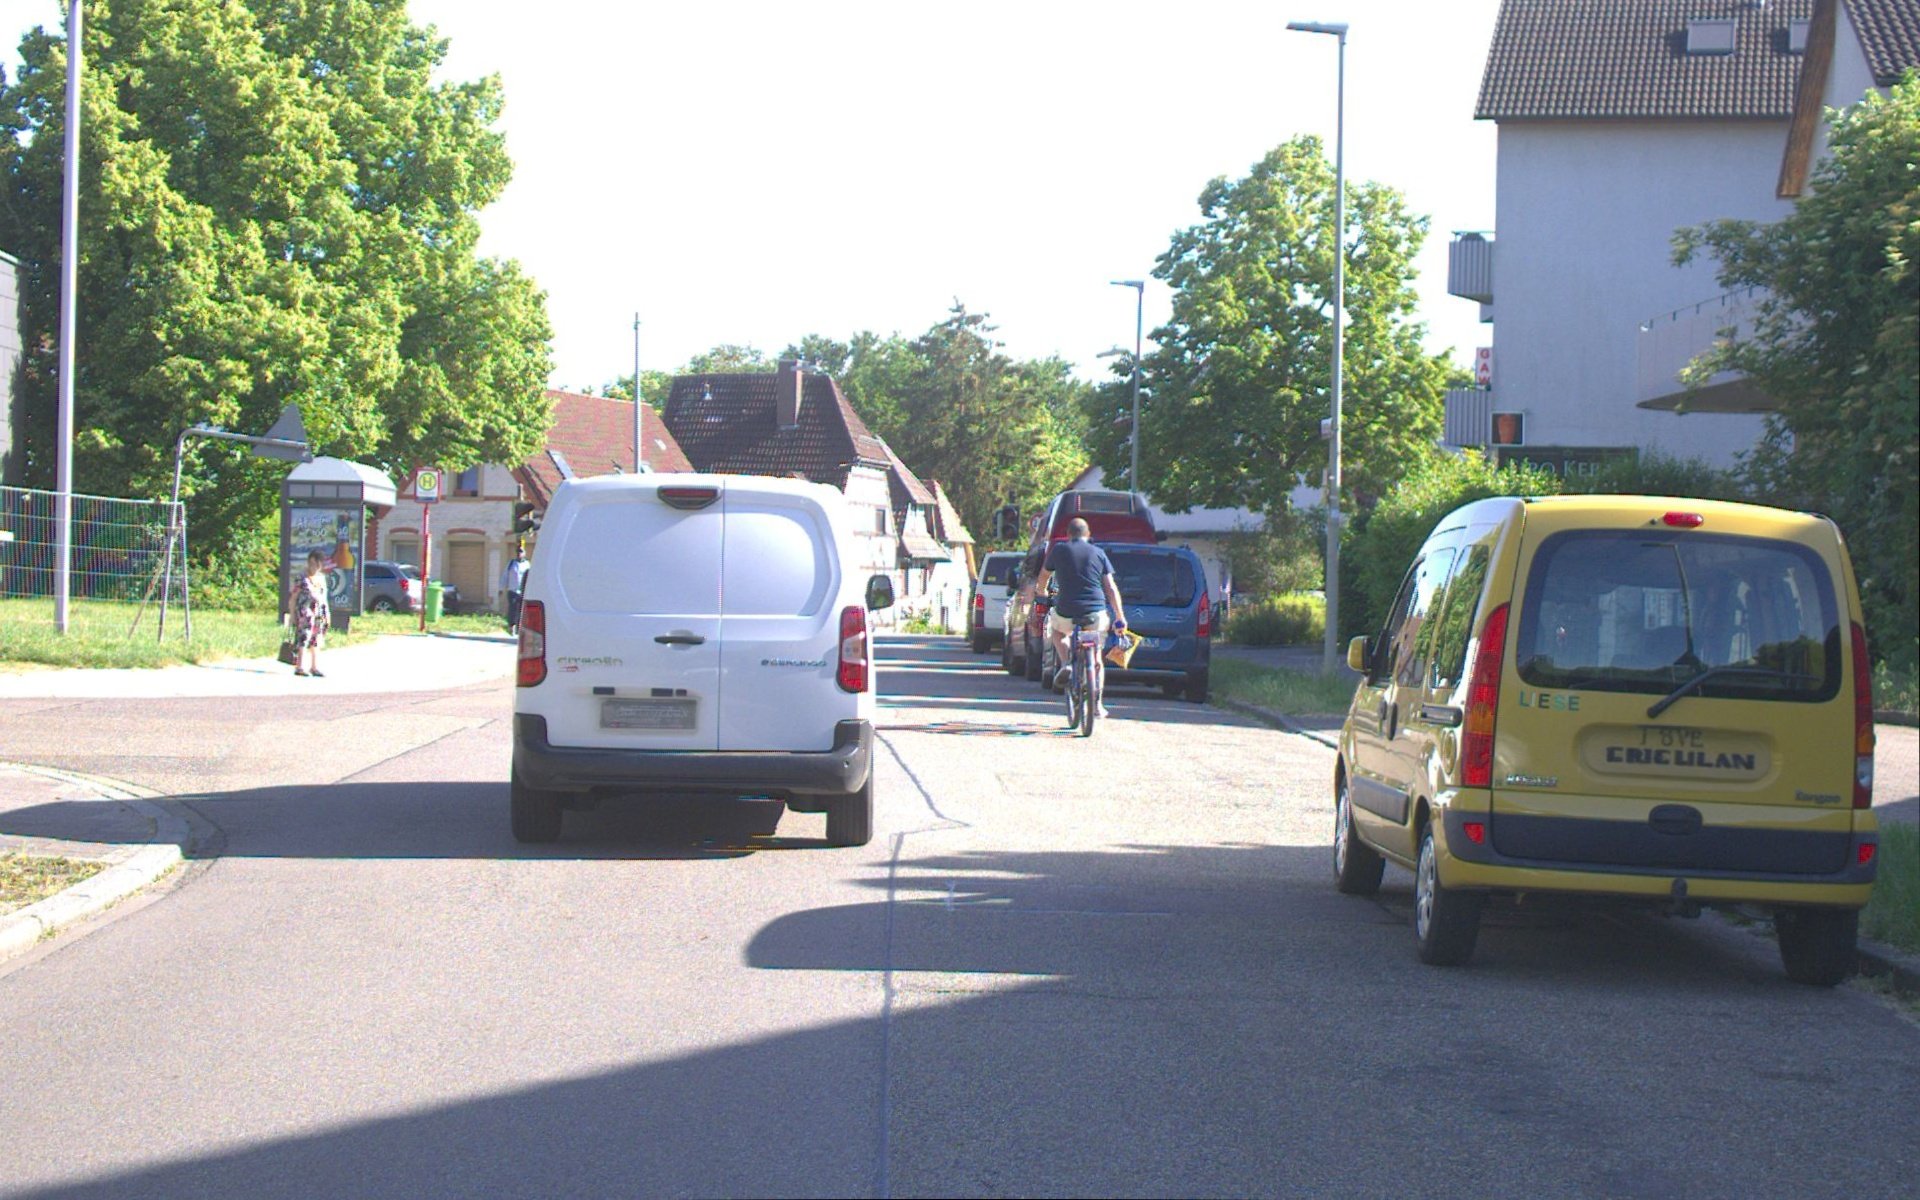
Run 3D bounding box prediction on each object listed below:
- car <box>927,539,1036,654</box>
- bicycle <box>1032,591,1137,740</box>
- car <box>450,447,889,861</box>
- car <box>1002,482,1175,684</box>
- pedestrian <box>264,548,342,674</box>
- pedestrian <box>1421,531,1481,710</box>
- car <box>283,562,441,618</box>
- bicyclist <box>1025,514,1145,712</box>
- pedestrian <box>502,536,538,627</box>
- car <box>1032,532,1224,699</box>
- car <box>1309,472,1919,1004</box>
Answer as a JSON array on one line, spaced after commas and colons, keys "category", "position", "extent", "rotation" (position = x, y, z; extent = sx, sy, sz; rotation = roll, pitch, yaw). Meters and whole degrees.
[{"category": "car", "position": [0.382, -0.068, 67.004], "extent": [1.804, 2.061, 4.000], "rotation": [4, 0, -2]}, {"category": "bicycle", "position": [1.014, 0.514, 28.455], "extent": [0.787, 1.135, 2.280], "rotation": [1, 1, 1]}, {"category": "car", "position": [-1.443, 0.219, 18.237], "extent": [1.993, 1.875, 4.289], "rotation": [2, 1, -2]}, {"category": "car", "position": [1.728, -0.221, 47.836], "extent": [1.866, 2.554, 4.768], "rotation": [4, 0, -2]}, {"category": "pedestrian", "position": [-7.785, 0.136, 40.731], "extent": [0.510, 1.441, 0.638], "rotation": [5, 1, 32]}, {"category": "pedestrian", "position": [5.064, 0.205, 35.473], "extent": [0.483, 1.825, 0.486], "rotation": [-2, 1, -3]}, {"category": "car", "position": [-16.763, -0.276, 96.397], "extent": [3.980, 1.424, 1.714], "rotation": [2, 0, 17]}, {"category": "bicyclist", "position": [1.025, 0.105, 28.489], "extent": [0.905, 1.579, 0.966], "rotation": [2, 0, 0]}, {"category": "pedestrian", "position": [-8.832, -0.368, 68.996], "extent": [0.621, 1.799, 0.640], "rotation": [1, -1, -2]}, {"category": "car", "position": [1.941, 0.177, 40.733], "extent": [1.804, 1.779, 4.000], "rotation": [4, 0, -2]}, {"category": "car", "position": [2.545, 0.471, 14.190], "extent": [1.724, 1.831, 4.000], "rotation": [2, 1, 0]}]
